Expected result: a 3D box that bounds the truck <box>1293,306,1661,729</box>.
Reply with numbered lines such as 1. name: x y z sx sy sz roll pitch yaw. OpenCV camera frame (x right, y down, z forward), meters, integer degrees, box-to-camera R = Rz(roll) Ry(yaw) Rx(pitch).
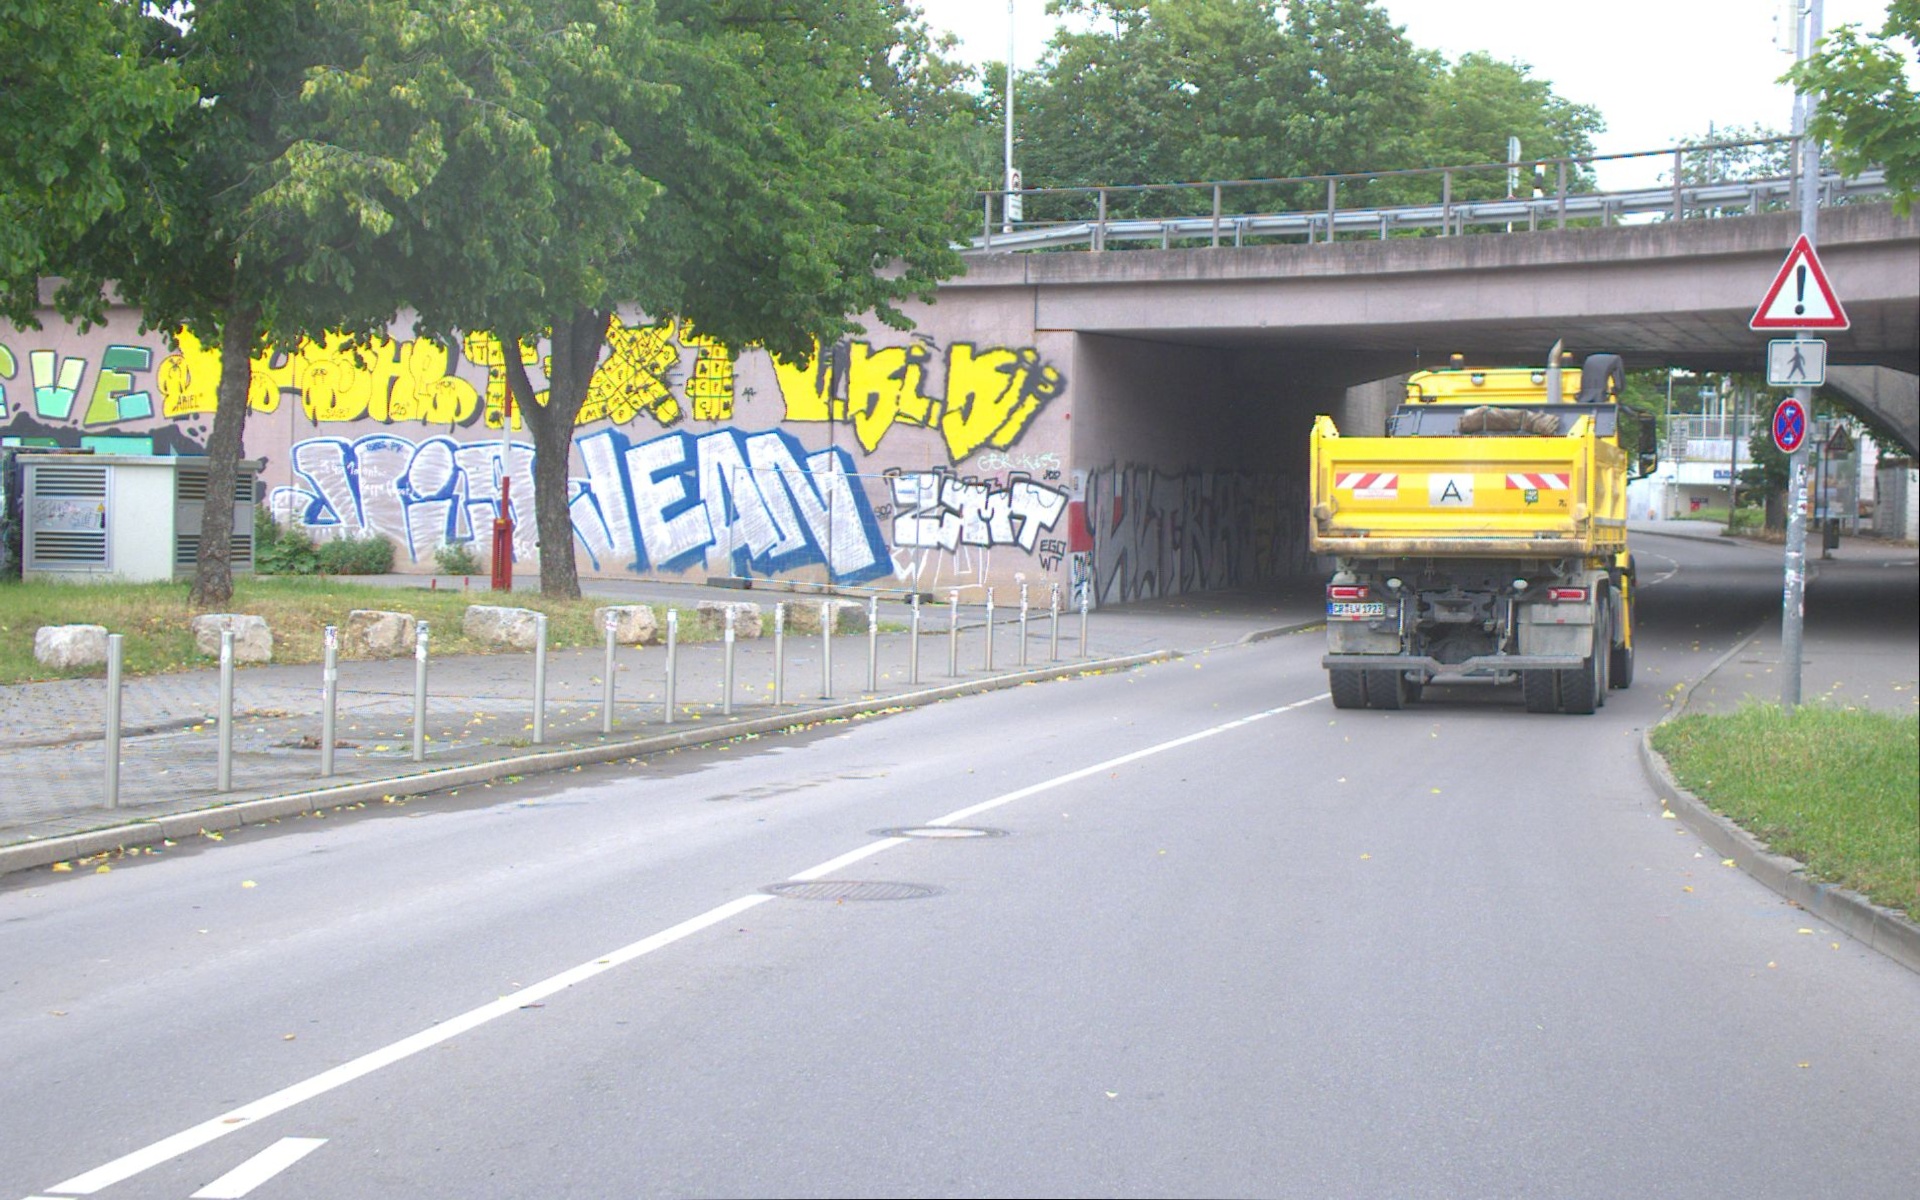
1. truck: 5.384 -0.784 34.564 2.760 3.686 7.875 2 1 14
